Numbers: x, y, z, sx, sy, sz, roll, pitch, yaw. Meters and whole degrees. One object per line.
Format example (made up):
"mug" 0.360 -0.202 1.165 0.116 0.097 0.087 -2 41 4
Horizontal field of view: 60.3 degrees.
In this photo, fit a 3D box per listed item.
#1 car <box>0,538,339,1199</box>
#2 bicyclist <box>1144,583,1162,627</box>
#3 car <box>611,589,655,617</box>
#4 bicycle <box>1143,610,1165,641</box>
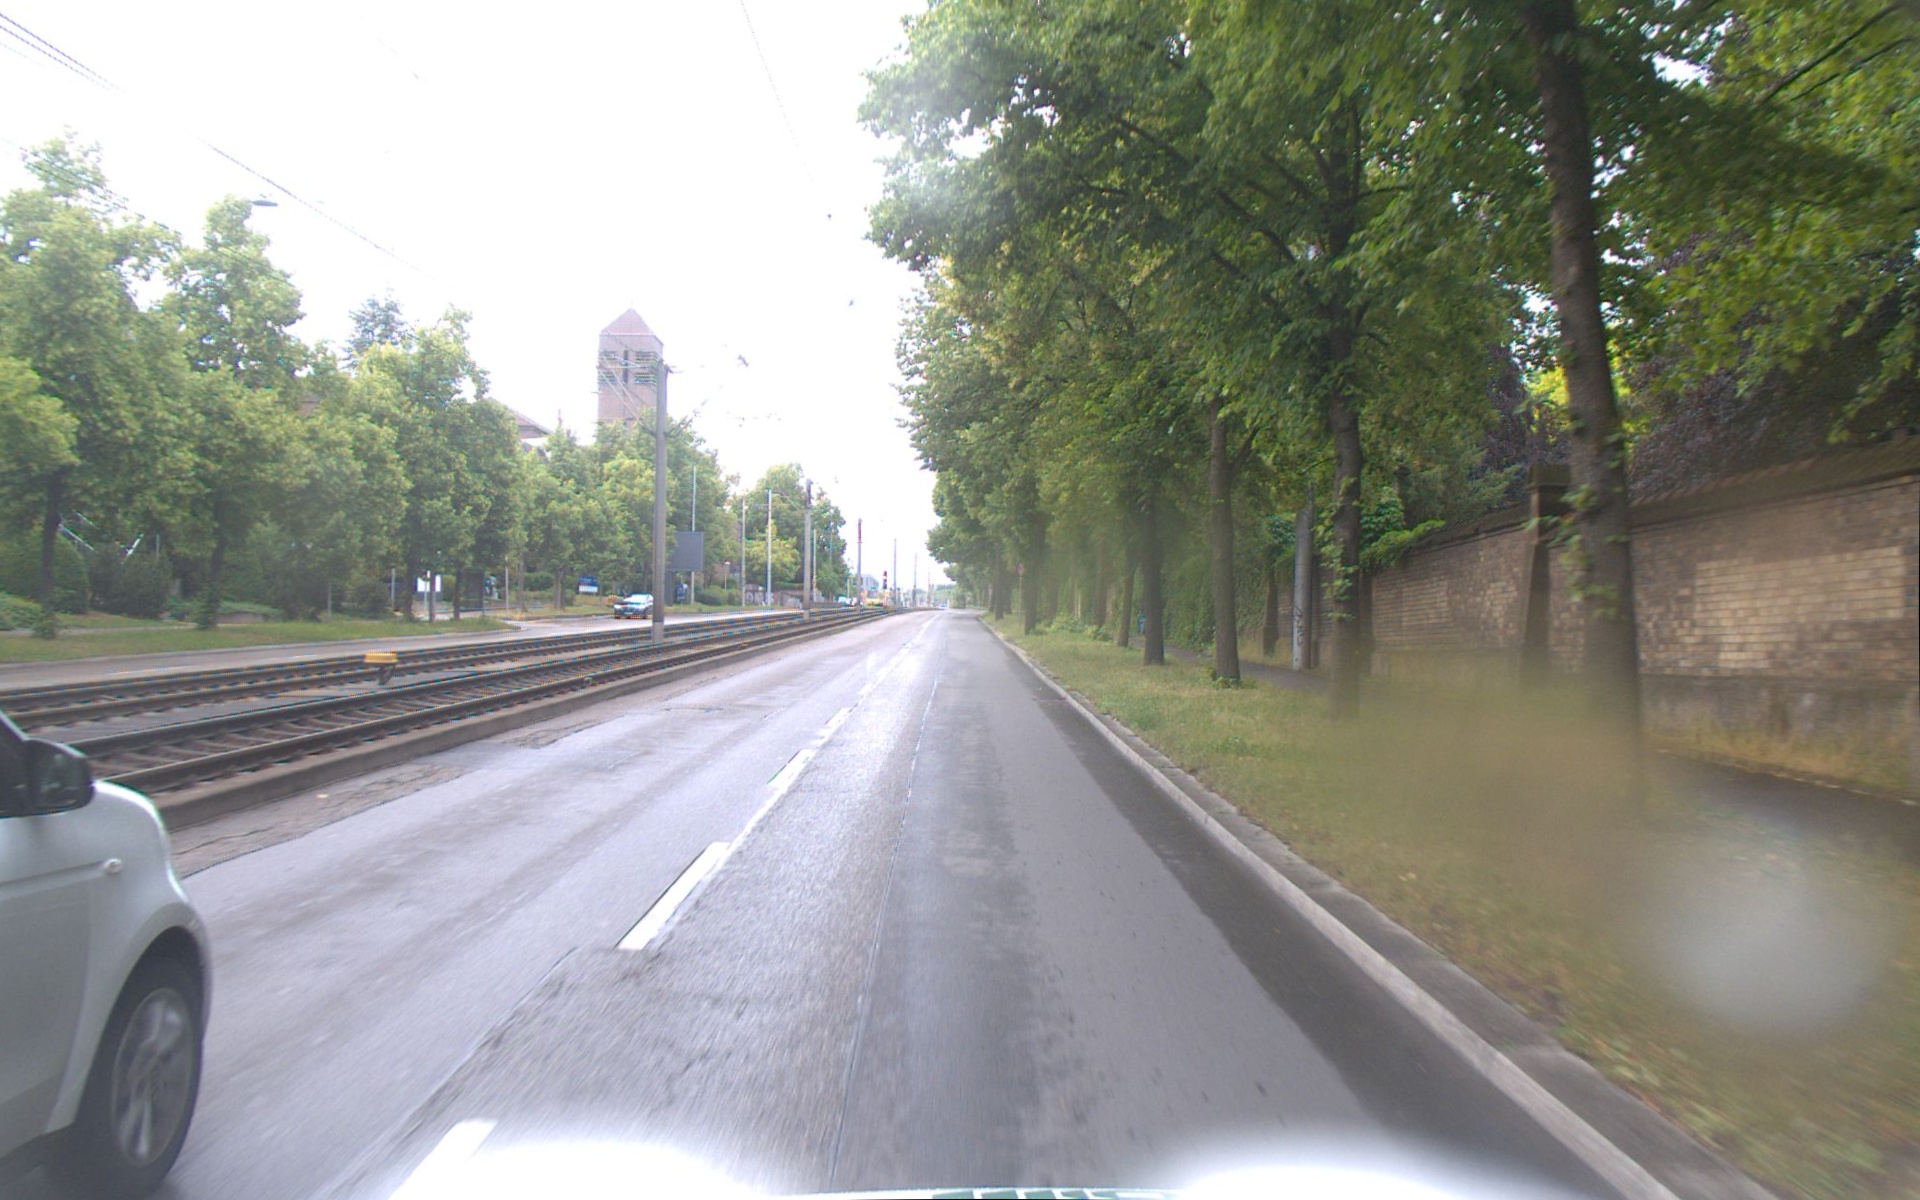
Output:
"car" -2.639 0.623 2.863 1.642 1.557 3.721 4 0 0
"bicyclist" 6.141 0.158 52.692 0.524 1.414 0.666 0 0 3
"car" -19.308 0.171 97.852 1.758 1.557 4.620 1 0 -2
"bicycle" 6.131 0.800 52.439 0.531 0.964 2.550 0 0 3
